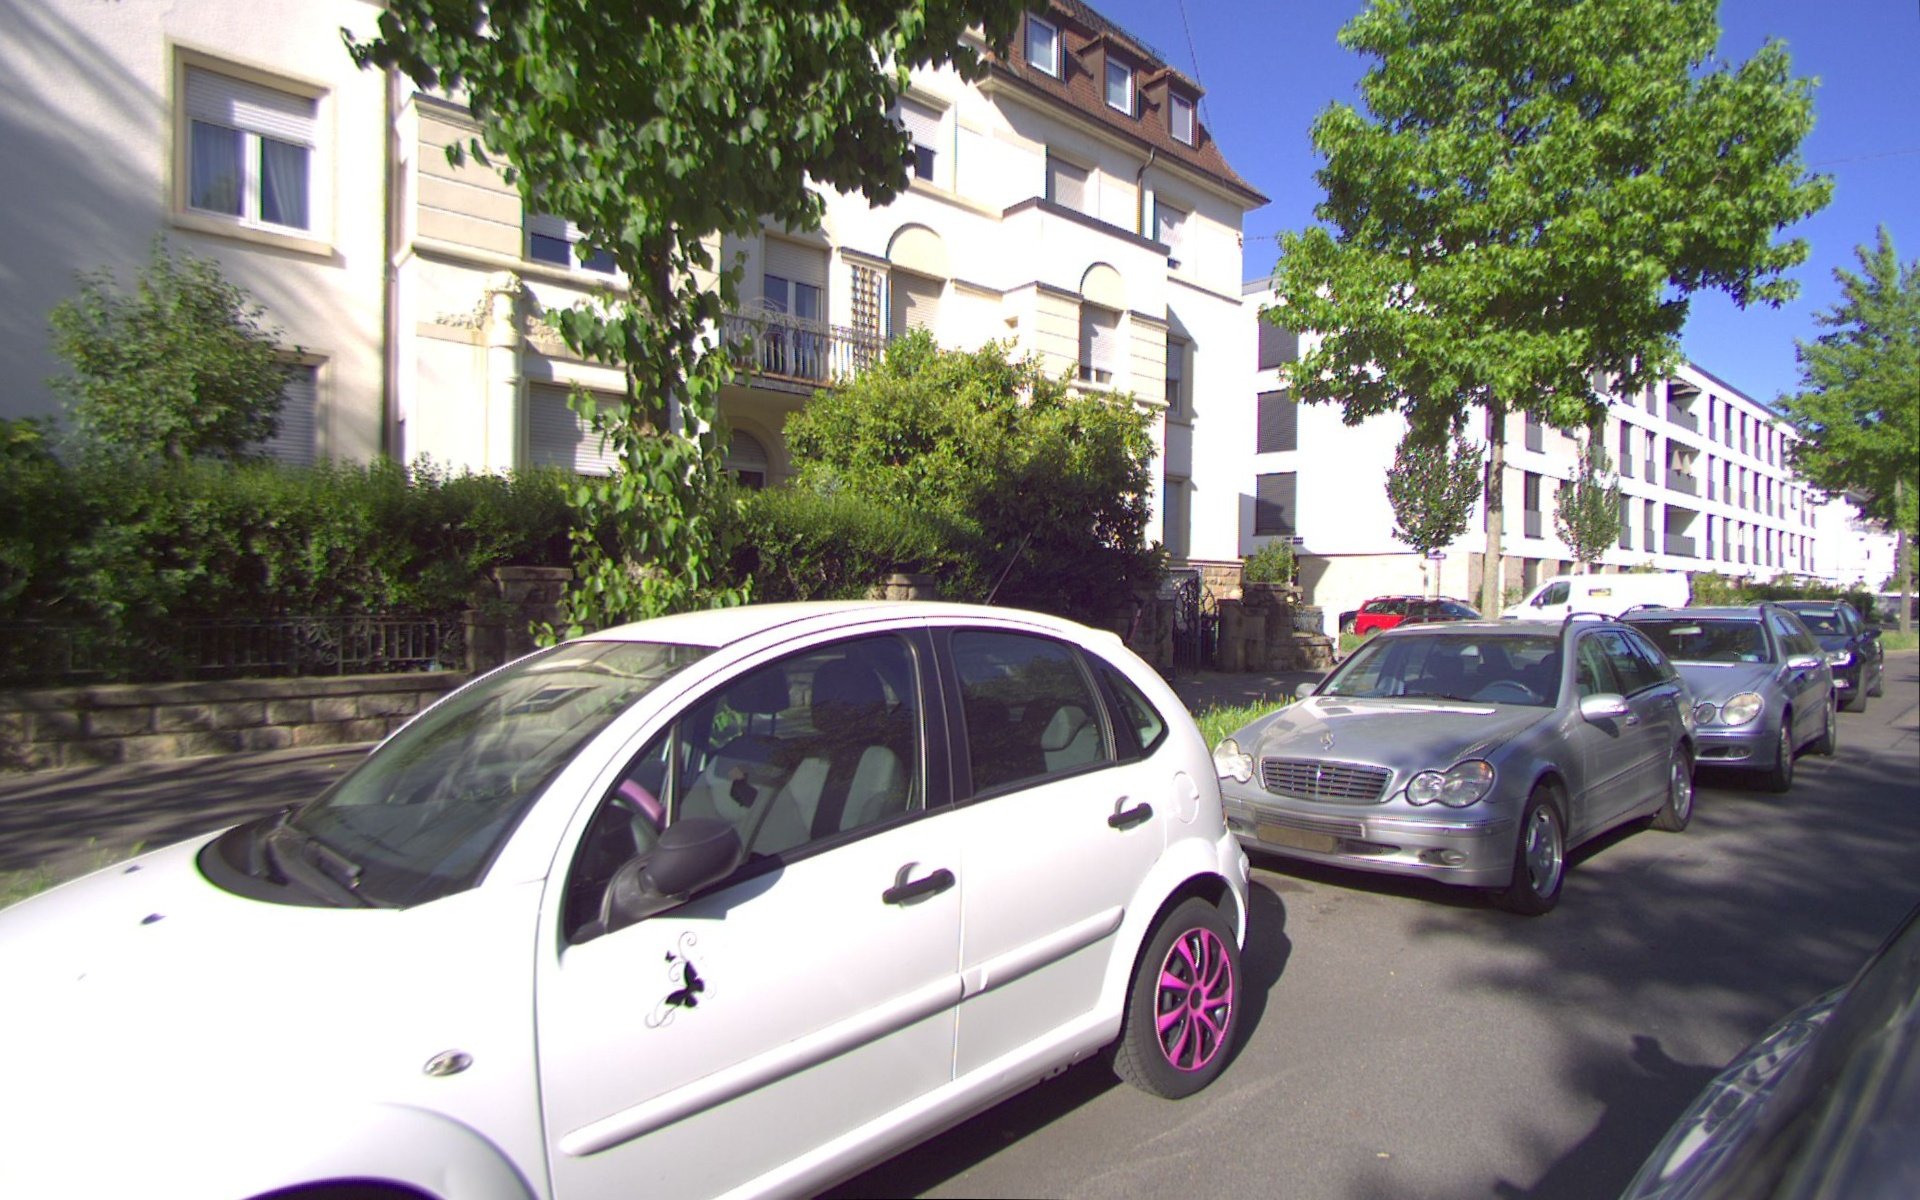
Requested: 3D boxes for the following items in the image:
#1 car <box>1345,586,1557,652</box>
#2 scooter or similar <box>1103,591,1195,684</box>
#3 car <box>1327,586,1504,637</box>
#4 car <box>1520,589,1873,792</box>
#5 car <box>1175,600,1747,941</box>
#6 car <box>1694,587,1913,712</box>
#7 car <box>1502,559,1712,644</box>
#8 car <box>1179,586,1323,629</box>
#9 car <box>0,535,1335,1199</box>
[{"bbox_3d":[12.517,0.407,26.172,1.913,1.488,4.742,0,1,-26],"label":"car"},{"bbox_3d":[2.546,0.496,13.611,1.181,1.200,0.403,1,0,-26],"label":"scooter or similar"},{"bbox_3d":[14.890,0.331,33.326,2.013,1.488,4.935,0,1,-42],"label":"car"},{"bbox_3d":[7.243,0.664,9.728,4.826,1.488,1.823,0,0,-43],"label":"car"},{"bbox_3d":[3.515,0.727,6.546,4.779,1.428,1.712,0,0,-43],"label":"car"},{"bbox_3d":[12.706,0.590,15.113,4.883,1.543,1.898,-1,1,-43],"label":"car"},{"bbox_3d":[19.121,-0.022,30.255,5.006,2.335,2.214,1,1,26],"label":"car"},{"bbox_3d":[10.792,0.253,37.828,1.927,1.447,4.936,2,0,-41],"label":"car"},{"bbox_3d":[-0.698,0.708,2.815,3.902,1.552,1.656,0,-1,-43],"label":"car"}]
